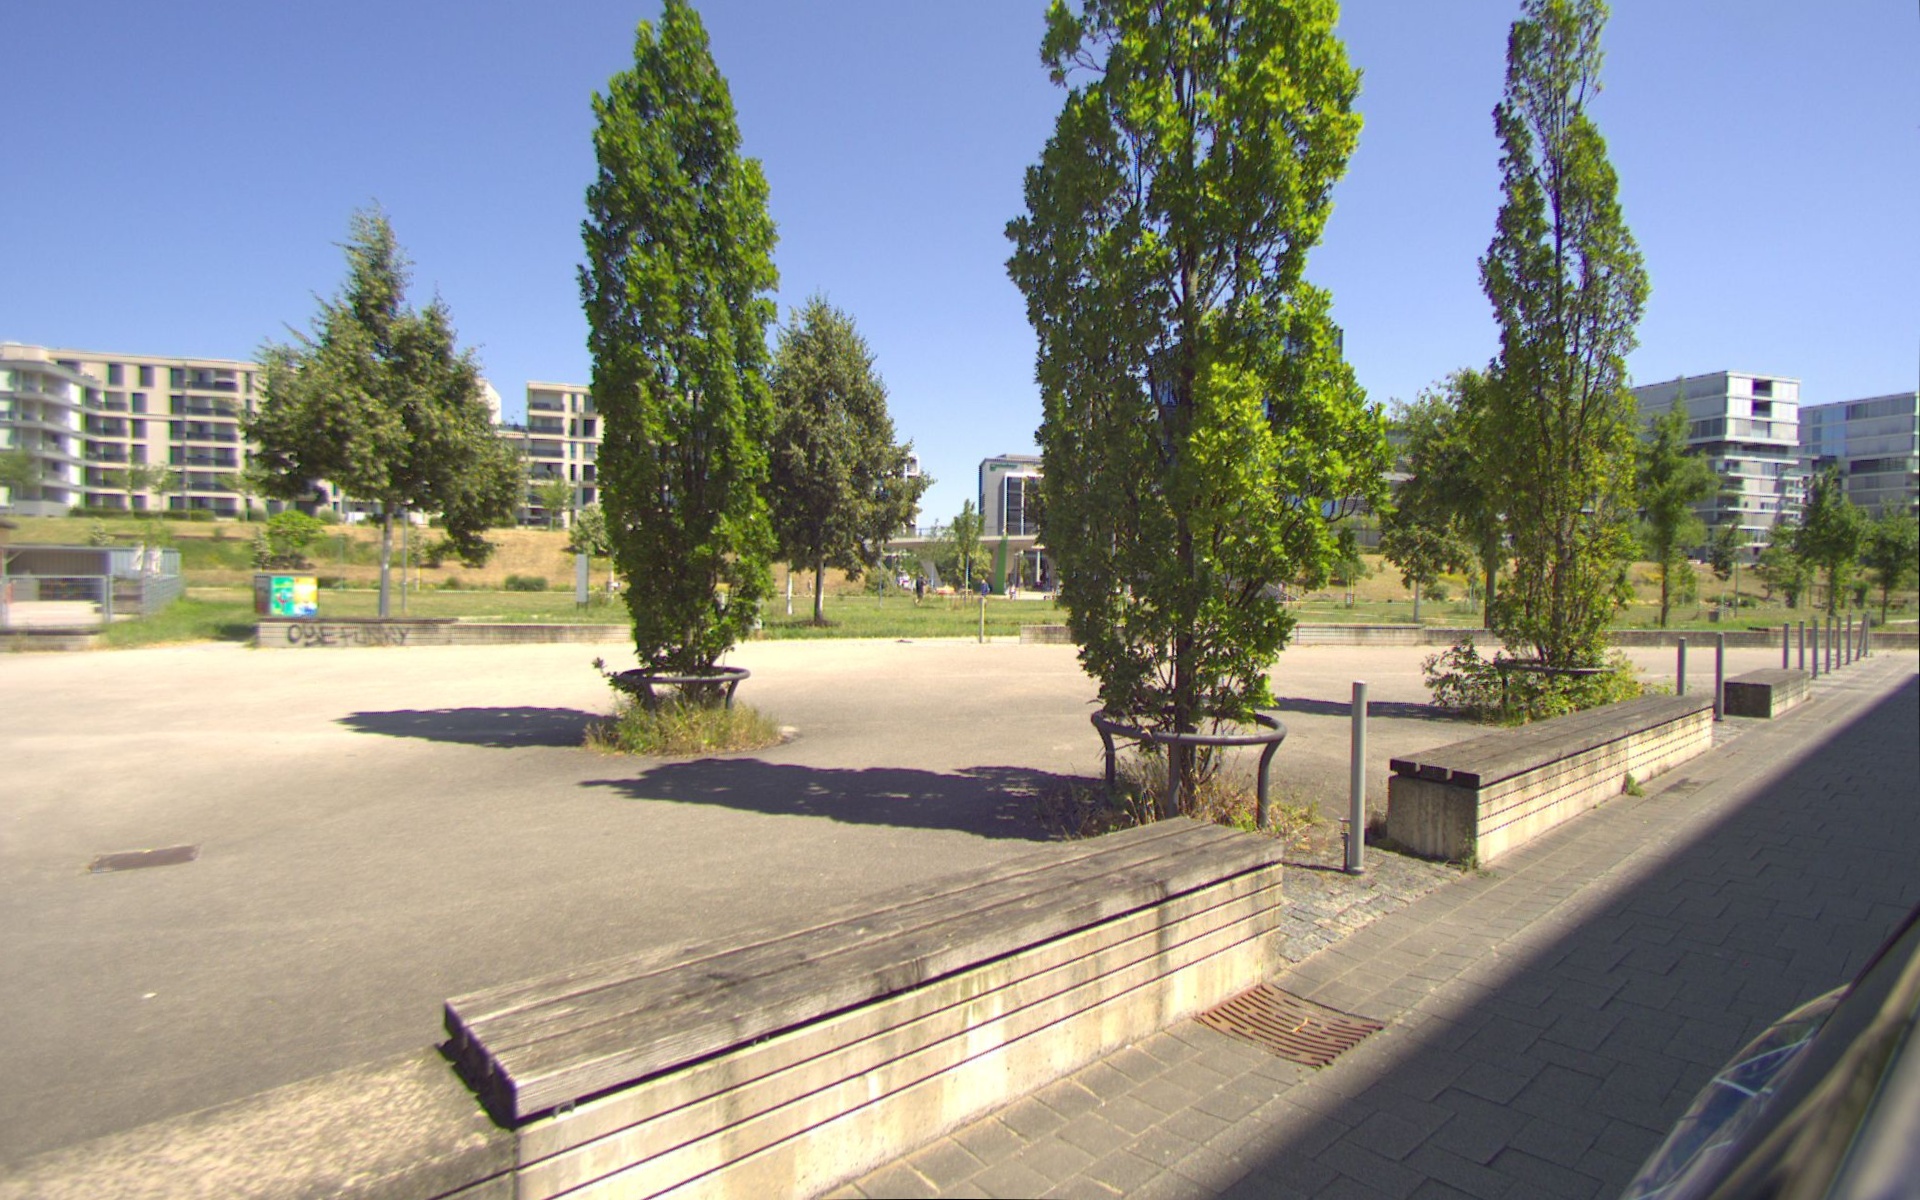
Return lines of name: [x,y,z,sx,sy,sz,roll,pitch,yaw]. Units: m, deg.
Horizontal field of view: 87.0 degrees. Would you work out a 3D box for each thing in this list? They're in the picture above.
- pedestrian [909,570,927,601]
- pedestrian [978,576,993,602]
pedestrian: [-2.387,-0.803,57.713,0.807,1.749,0.610,1,1,26]
pedestrian: [1.694,-0.749,67.875,0.807,1.749,0.610,1,1,26]
